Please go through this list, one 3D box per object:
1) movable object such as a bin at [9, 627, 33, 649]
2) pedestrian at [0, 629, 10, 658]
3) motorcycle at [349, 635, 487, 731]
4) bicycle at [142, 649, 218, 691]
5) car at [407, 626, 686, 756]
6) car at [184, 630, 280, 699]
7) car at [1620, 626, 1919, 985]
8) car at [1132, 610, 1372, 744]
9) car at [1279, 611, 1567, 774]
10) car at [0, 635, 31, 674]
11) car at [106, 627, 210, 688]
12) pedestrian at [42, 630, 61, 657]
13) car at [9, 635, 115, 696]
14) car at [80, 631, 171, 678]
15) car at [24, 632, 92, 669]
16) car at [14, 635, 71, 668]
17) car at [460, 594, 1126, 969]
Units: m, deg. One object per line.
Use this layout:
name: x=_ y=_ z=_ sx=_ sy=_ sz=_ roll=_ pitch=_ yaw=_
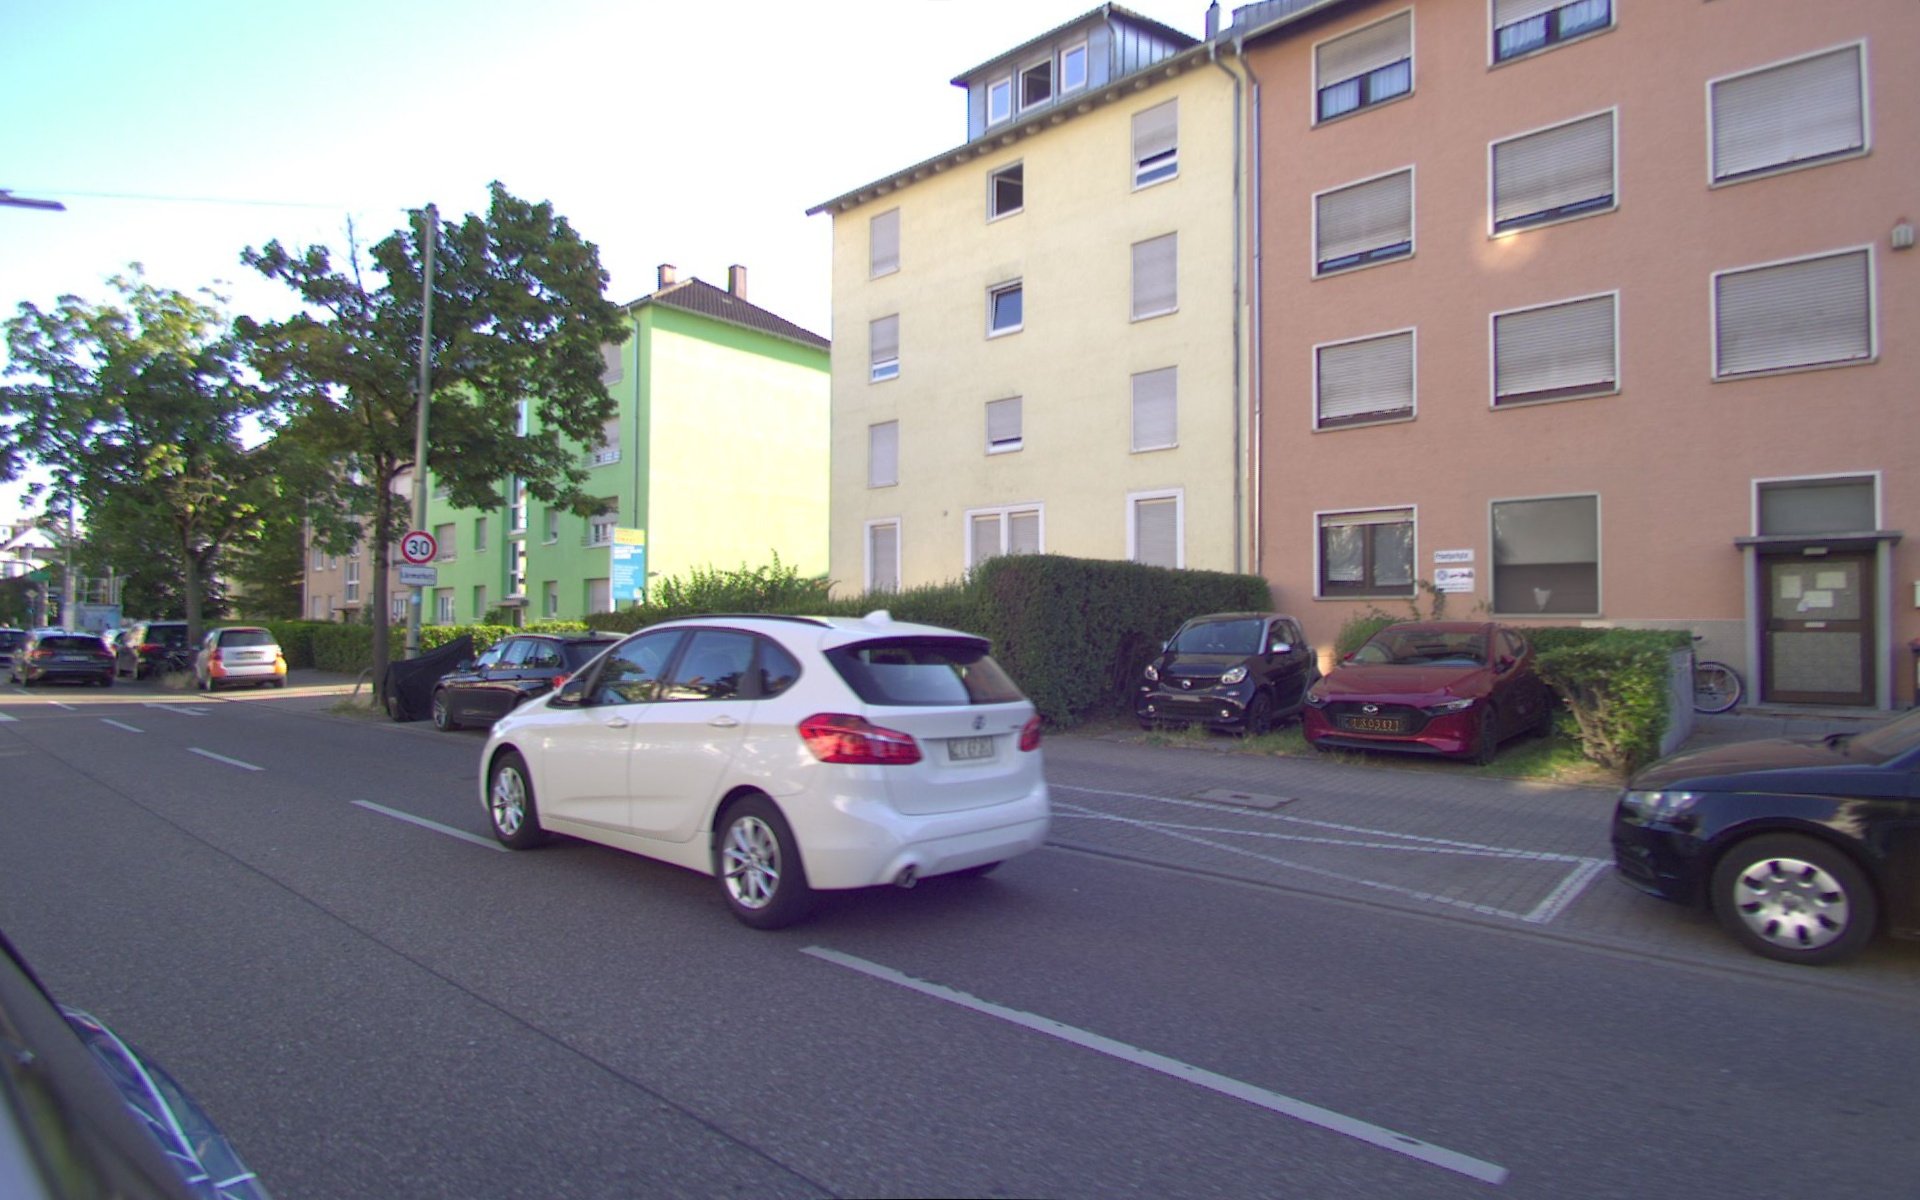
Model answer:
movable object such as a bin: x=-78.955 y=3.188 z=85.088 sx=1.180 sy=1.670 sz=1.292 roll=0 pitch=2 yaw=41
pedestrian: x=-68.693 y=3.125 z=72.693 sx=0.814 sy=2.029 sz=0.637 roll=0 pitch=-1 yaw=42
motorcycle: x=-8.834 y=1.309 z=16.620 sx=0.980 sy=1.399 sz=2.022 roll=0 pitch=0 yaw=9
bicycle: x=-22.369 y=1.984 z=29.044 sx=0.560 sy=1.097 sz=1.656 roll=-2 pitch=-1 yaw=43
car: x=-5.873 y=1.133 z=14.100 sx=4.586 sy=1.516 sz=1.760 roll=-2 pitch=-2 yaw=41
car: x=-18.408 y=1.570 z=25.564 sx=2.862 sy=1.629 sz=1.482 roll=-2 pitch=-2 yaw=45
car: x=5.225 y=0.867 z=4.309 sx=3.813 sy=1.484 sz=1.594 roll=-2 pitch=-1 yaw=43
car: x=4.086 y=0.921 z=13.773 sx=1.628 sy=1.540 sz=3.945 roll=-2 pitch=-1 yaw=41
car: x=5.412 y=0.898 z=11.564 sx=1.915 sy=1.423 sz=3.945 roll=-2 pitch=0 yaw=41
car: x=-36.156 y=2.017 z=37.784 sx=4.026 sy=1.414 sz=1.682 roll=-2 pitch=-4 yaw=41
car: x=-24.903 y=1.723 z=31.384 sx=4.616 sy=1.746 sz=1.765 roll=-2 pitch=-3 yaw=42
pedestrian: x=-56.354 y=2.670 z=62.758 sx=0.607 sy=1.670 sz=0.741 roll=-1 pitch=-2 yaw=34
car: x=-23.892 y=1.681 z=26.887 sx=4.294 sy=1.482 sz=1.681 roll=-2 pitch=-4 yaw=43
car: x=-28.737 y=1.825 z=34.820 sx=4.187 sy=1.533 sz=1.665 roll=-2 pitch=-2 yaw=40
car: x=-39.639 y=2.180 z=44.471 sx=3.781 sy=1.564 sz=1.621 roll=-1 pitch=-2 yaw=39
car: x=-43.332 y=2.381 z=47.778 sx=3.943 sy=1.490 sz=1.635 roll=-2 pitch=-2 yaw=43
car: x=-1.276 y=0.874 z=6.360 sx=4.266 sy=1.555 sz=1.859 roll=-2 pitch=-5 yaw=42
